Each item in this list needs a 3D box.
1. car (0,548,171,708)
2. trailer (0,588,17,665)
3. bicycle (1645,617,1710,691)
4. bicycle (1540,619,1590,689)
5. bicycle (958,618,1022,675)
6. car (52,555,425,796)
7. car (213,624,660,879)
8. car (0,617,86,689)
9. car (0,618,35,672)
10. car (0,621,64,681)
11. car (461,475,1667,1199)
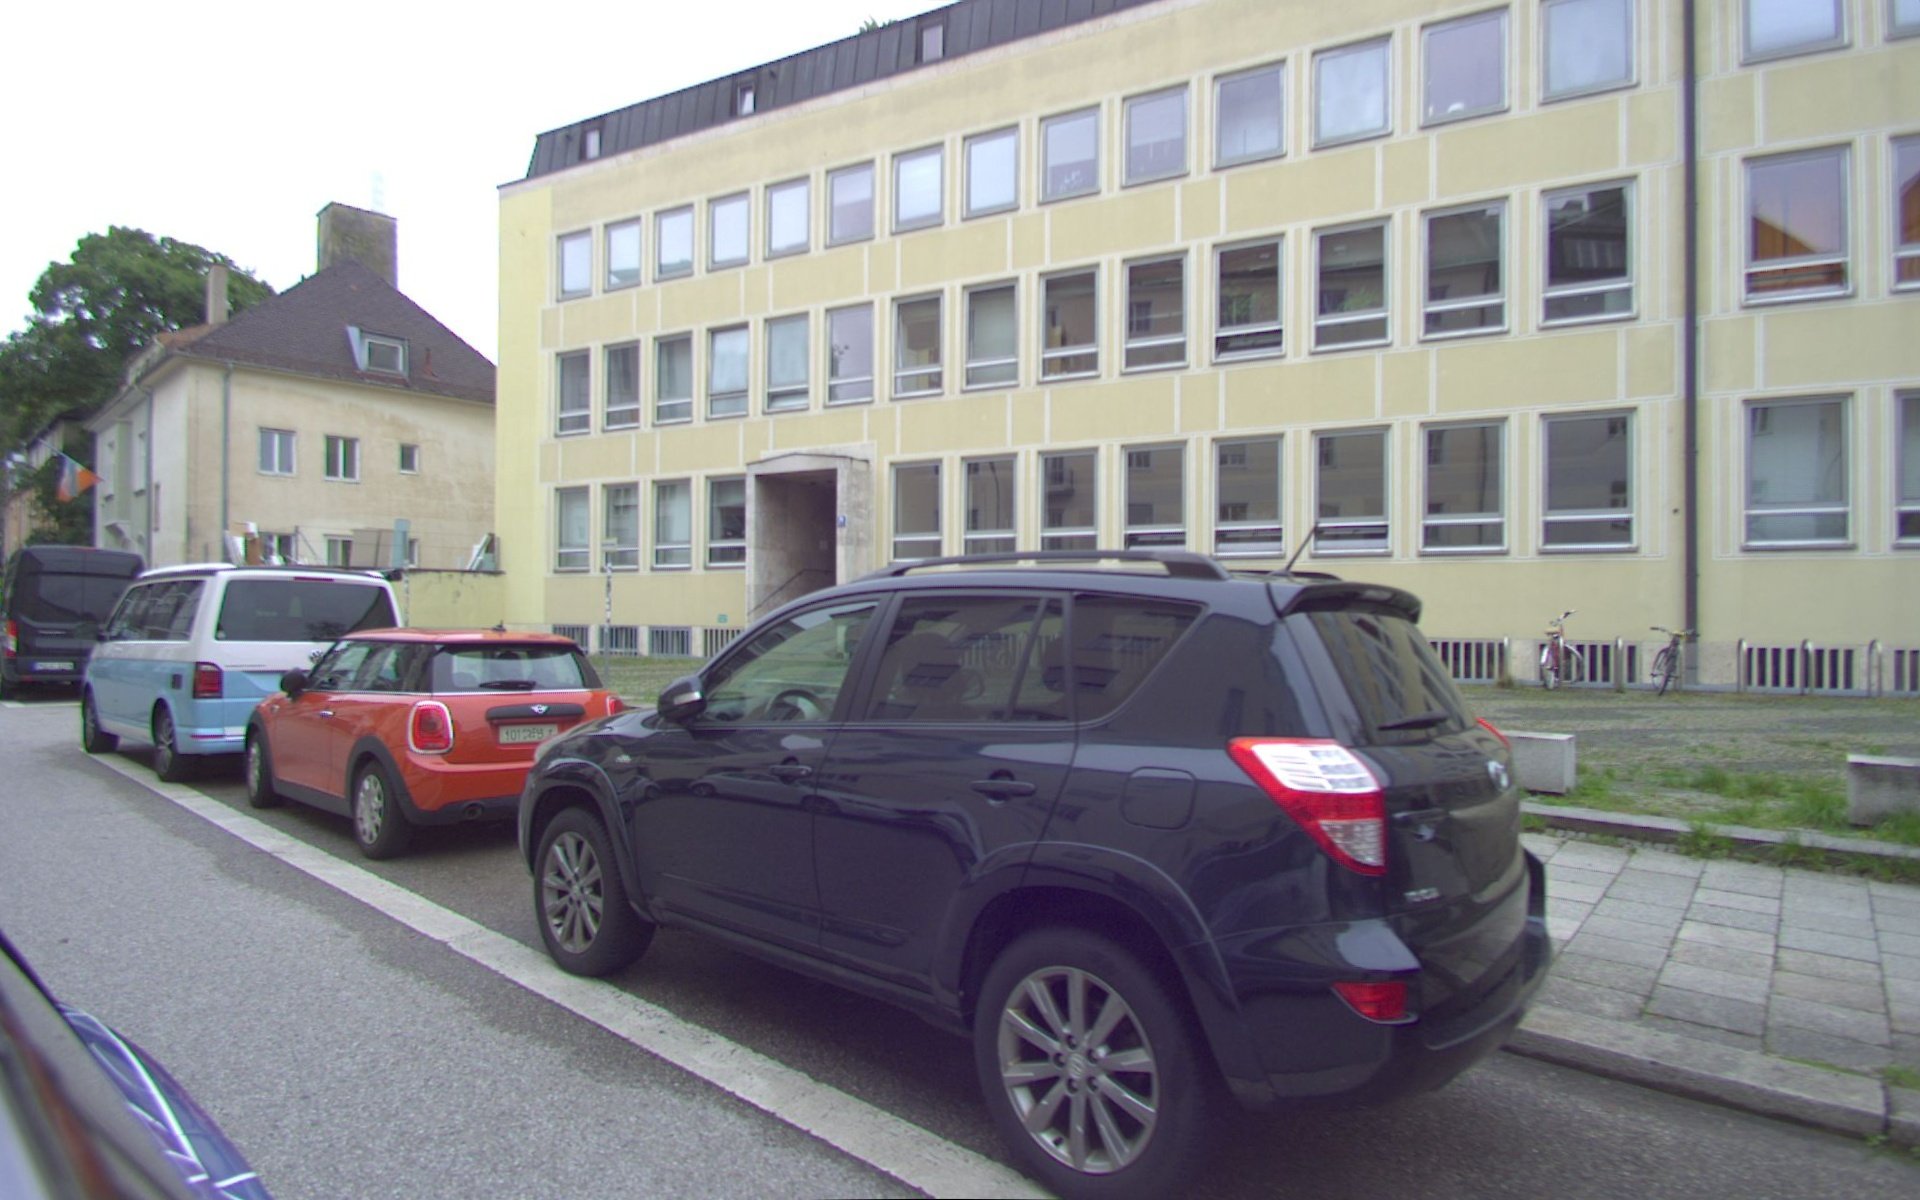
[{"bbox_3d":[-17.334,0.535,19.644,5.653,2.666,2.272,-1,-3,43],"label":"car"},{"bbox_3d":[-33.298,0.846,34.297,1.792,2.555,3.392,5,-4,-43],"label":"trailer"},{"bbox_3d":[10.752,0.777,15.210,0.623,1.022,1.932,-1,-1,31],"label":"bicycle"},{"bbox_3d":[9.520,0.815,15.939,0.623,1.022,1.932,-1,-1,31],"label":"bicycle"},{"bbox_3d":[0.625,0.902,20.172,0.577,1.022,1.937,-1,0,24],"label":"bicycle"},{"bbox_3d":[-7.780,0.671,10.711,5.017,1.994,1.909,-1,-2,39],"label":"car"},{"bbox_3d":[-4.129,0.905,7.704,3.917,1.398,1.725,-1,0,41],"label":"car"},{"bbox_3d":[-21.315,1.155,22.872,3.484,1.505,1.686,-1,-1,37],"label":"car"},{"bbox_3d":[-29.235,1.310,30.387,4.644,1.511,1.793,-1,-2,44],"label":"car"},{"bbox_3d":[-24.638,1.270,26.082,4.066,1.436,1.676,-1,-2,40],"label":"car"},{"bbox_3d":[-0.047,0.692,3.938,4.446,1.679,1.726,-1,-4,41],"label":"car"}]
